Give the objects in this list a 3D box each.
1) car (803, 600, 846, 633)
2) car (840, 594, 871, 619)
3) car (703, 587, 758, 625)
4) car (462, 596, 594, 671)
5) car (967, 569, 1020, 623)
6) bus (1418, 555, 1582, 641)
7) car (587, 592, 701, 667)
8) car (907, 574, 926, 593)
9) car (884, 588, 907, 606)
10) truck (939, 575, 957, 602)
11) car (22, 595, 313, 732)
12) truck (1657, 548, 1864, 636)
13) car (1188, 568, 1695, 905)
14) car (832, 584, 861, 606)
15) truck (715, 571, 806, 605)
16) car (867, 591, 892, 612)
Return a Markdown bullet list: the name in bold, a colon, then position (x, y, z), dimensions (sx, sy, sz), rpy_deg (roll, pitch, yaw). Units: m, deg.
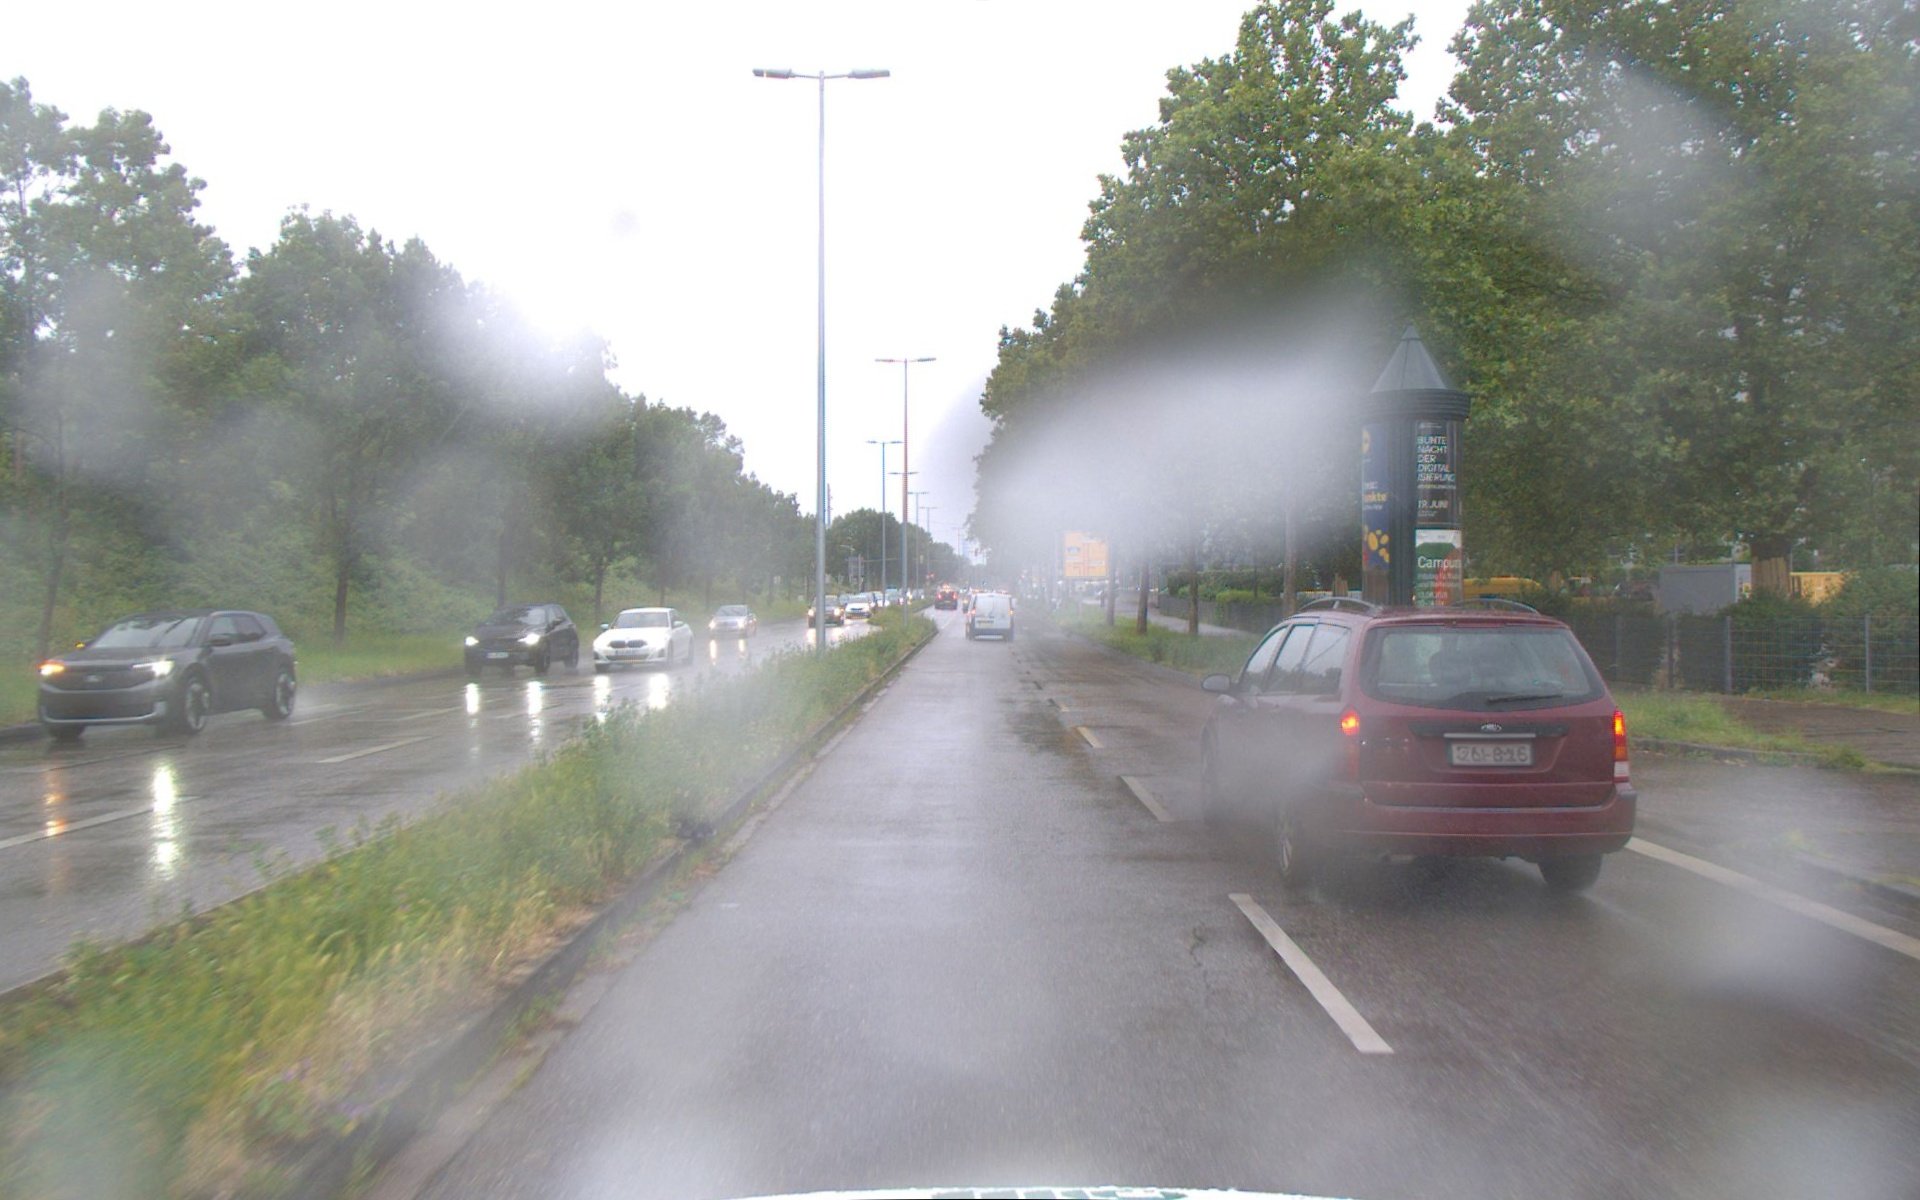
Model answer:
- **car**: position (-7.409, 0.880, 90.891), dimensions (1.859, 1.641, 4.112), rpy_deg (-3, 0, 2)
- **car**: position (-7.069, 0.434, 112.328), dimensions (1.859, 1.641, 4.111), rpy_deg (-1, 0, 0)
- **car**: position (-10.349, 0.241, 74.843), dimensions (1.860, 1.641, 4.477), rpy_deg (-1, 0, -1)
- **car**: position (-10.450, 0.763, 40.354), dimensions (1.996, 1.689, 4.678), rpy_deg (-1, 0, -1)
- **car**: position (1.286, -0.142, 65.307), dimensions (1.953, 2.049, 3.999), rpy_deg (1, -1, -1)
- **bus**: position (17.497, -0.076, 53.746), dimensions (4.693, 2.693, 2.000), rpy_deg (0, 0, 1)
- **car**: position (-7.702, 0.678, 40.738), dimensions (1.860, 1.641, 4.711), rpy_deg (-2, 0, 0)
- **car**: position (-5.098, -1.952, 193.729), dimensions (1.788, 1.599, 4.365), rpy_deg (8, 7, 0)
- **car**: position (-6.257, -0.318, 160.001), dimensions (1.869, 1.601, 4.709), rpy_deg (-3, 1, 1)
- **truck**: position (-1.143, -1.069, 157.291), dimensions (1.721, 2.509, 3.999), rpy_deg (1, 0, -1)
- **car**: position (-10.569, 0.770, 22.472), dimensions (1.860, 1.641, 4.405), rpy_deg (-1, 0, -1)
- **truck**: position (30.389, -0.222, 62.575), dimensions (9.394, 3.085, 3.043), rpy_deg (1, -1, -36)
- **car**: position (2.565, 0.635, 9.889), dimensions (1.801, 1.563, 4.111), rpy_deg (1, 0, 0)
- **car**: position (-9.392, -0.461, 137.195), dimensions (1.952, 1.717, 4.709), rpy_deg (-2, 1, 1)
- **truck**: position (-22.119, -1.249, 183.522), dimensions (10.030, 3.512, 2.624), rpy_deg (1, -1, -37)
- **car**: position (-6.577, 0.089, 134.518), dimensions (1.871, 1.601, 4.705), rpy_deg (-2, 1, -4)
